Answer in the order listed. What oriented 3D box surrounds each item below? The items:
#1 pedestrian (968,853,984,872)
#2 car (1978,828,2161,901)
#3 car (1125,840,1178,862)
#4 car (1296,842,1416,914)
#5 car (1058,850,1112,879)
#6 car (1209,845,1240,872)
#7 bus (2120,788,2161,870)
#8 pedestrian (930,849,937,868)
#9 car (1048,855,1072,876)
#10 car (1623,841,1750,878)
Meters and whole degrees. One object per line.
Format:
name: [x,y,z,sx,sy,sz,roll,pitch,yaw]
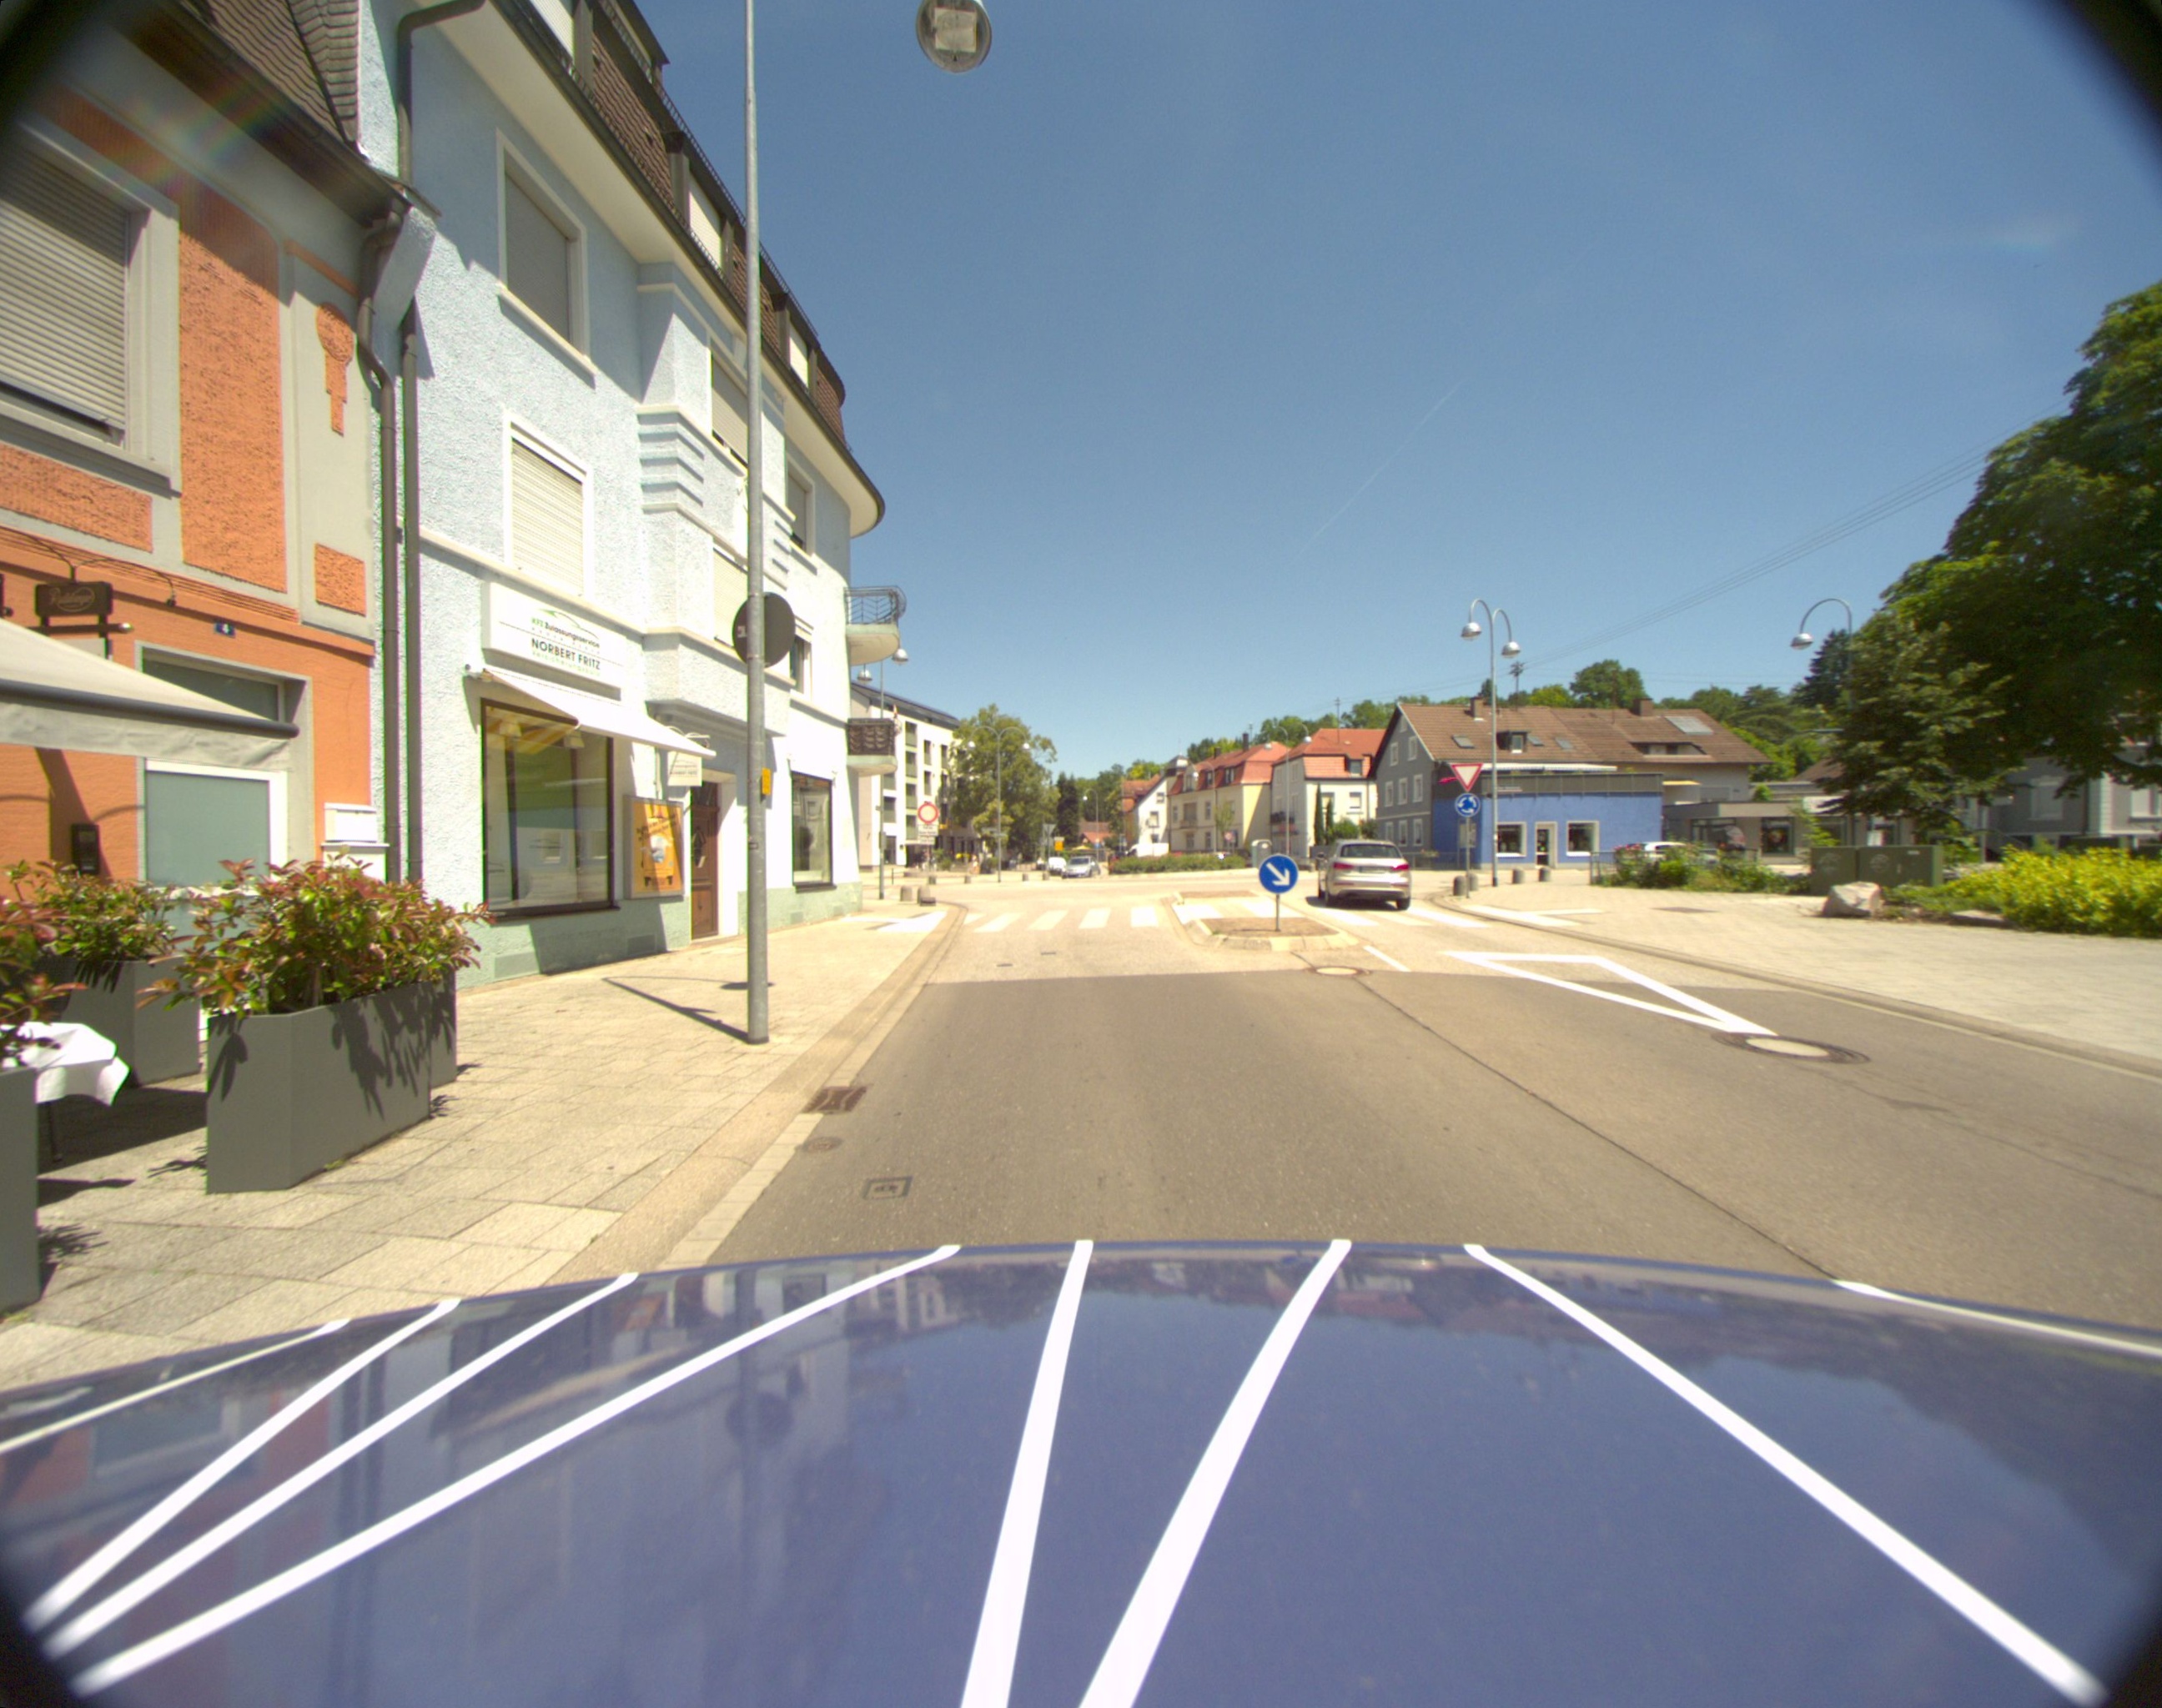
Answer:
pedestrian: [-8.957,0.738,64.863,0.816,1.639,0.952,-1,1,34]
car: [23.477,0.214,17.604,1.634,1.543,3.057,-2,0,-9]
car: [9.646,-0.409,104.329,7.043,2.727,2.378,-1,1,2]
car: [6.491,0.495,18.376,1.678,1.534,4.085,1,1,4]
car: [0.310,0.624,46.934,1.995,1.646,4.209,-1,1,20]
car: [9.445,0.329,49.736,1.743,1.507,4.214,-3,-3,13]
bus: [50.566,-1.076,27.762,18.046,3.154,3.719,-1,2,6]
pedestrian: [-12.755,0.413,65.790,0.450,1.609,0.451,-1,1,2]
car: [-1.736,0.910,61.830,1.796,1.516,3.999,-2,0,-3]
car: [23.750,0.225,29.983,3.709,1.404,1.552,-1,1,29]
